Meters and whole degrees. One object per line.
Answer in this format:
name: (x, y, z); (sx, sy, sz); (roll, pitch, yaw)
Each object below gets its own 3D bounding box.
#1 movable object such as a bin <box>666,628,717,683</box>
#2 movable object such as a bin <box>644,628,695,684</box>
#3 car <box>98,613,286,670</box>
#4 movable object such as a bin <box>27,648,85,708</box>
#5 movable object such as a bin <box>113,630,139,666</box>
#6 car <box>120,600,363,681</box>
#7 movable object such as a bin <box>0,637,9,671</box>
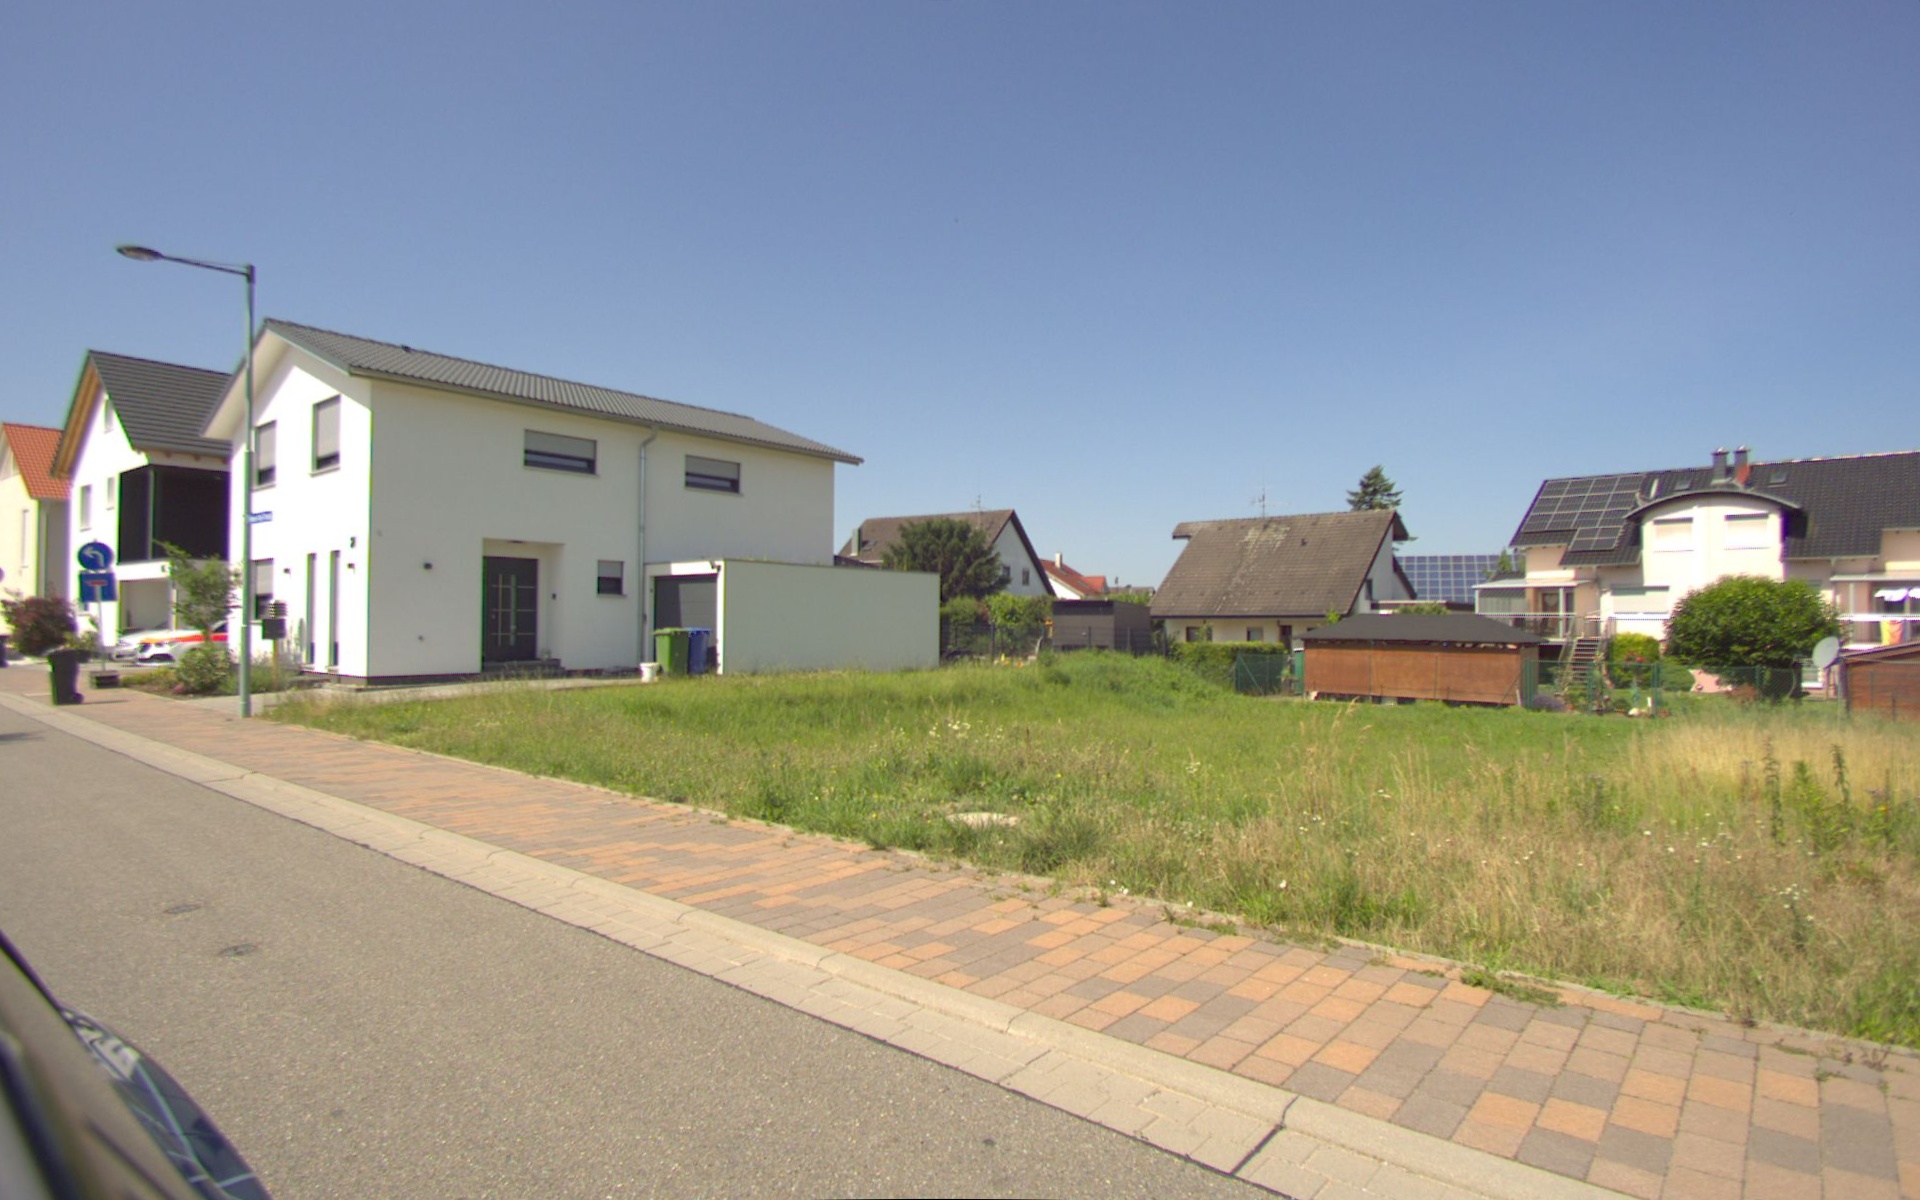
movable object such as a bin: (-5.580, 1.143, 21.051); (0.807, 1.107, 0.663); (-1, -3, 41)
movable object such as a bin: (-5.880, 1.130, 20.493); (0.784, 1.107, 0.653); (-1, -3, 40)
car: (-22.830, 1.219, 30.221); (1.741, 1.574, 4.116); (-1, -2, 34)
movable object such as a bin: (-15.101, 1.289, 16.909); (0.499, 0.955, 0.617); (0, -1, 36)
movable object such as a bin: (-25.909, 1.500, 31.432); (0.600, 1.100, 0.494); (-3, -3, 36)
car: (-18.252, 1.015, 25.928); (1.935, 1.889, 4.691); (-1, -2, 37)
movable object such as a bin: (-27.326, 1.535, 28.545); (0.563, 0.944, 0.611); (-2, -2, 36)
